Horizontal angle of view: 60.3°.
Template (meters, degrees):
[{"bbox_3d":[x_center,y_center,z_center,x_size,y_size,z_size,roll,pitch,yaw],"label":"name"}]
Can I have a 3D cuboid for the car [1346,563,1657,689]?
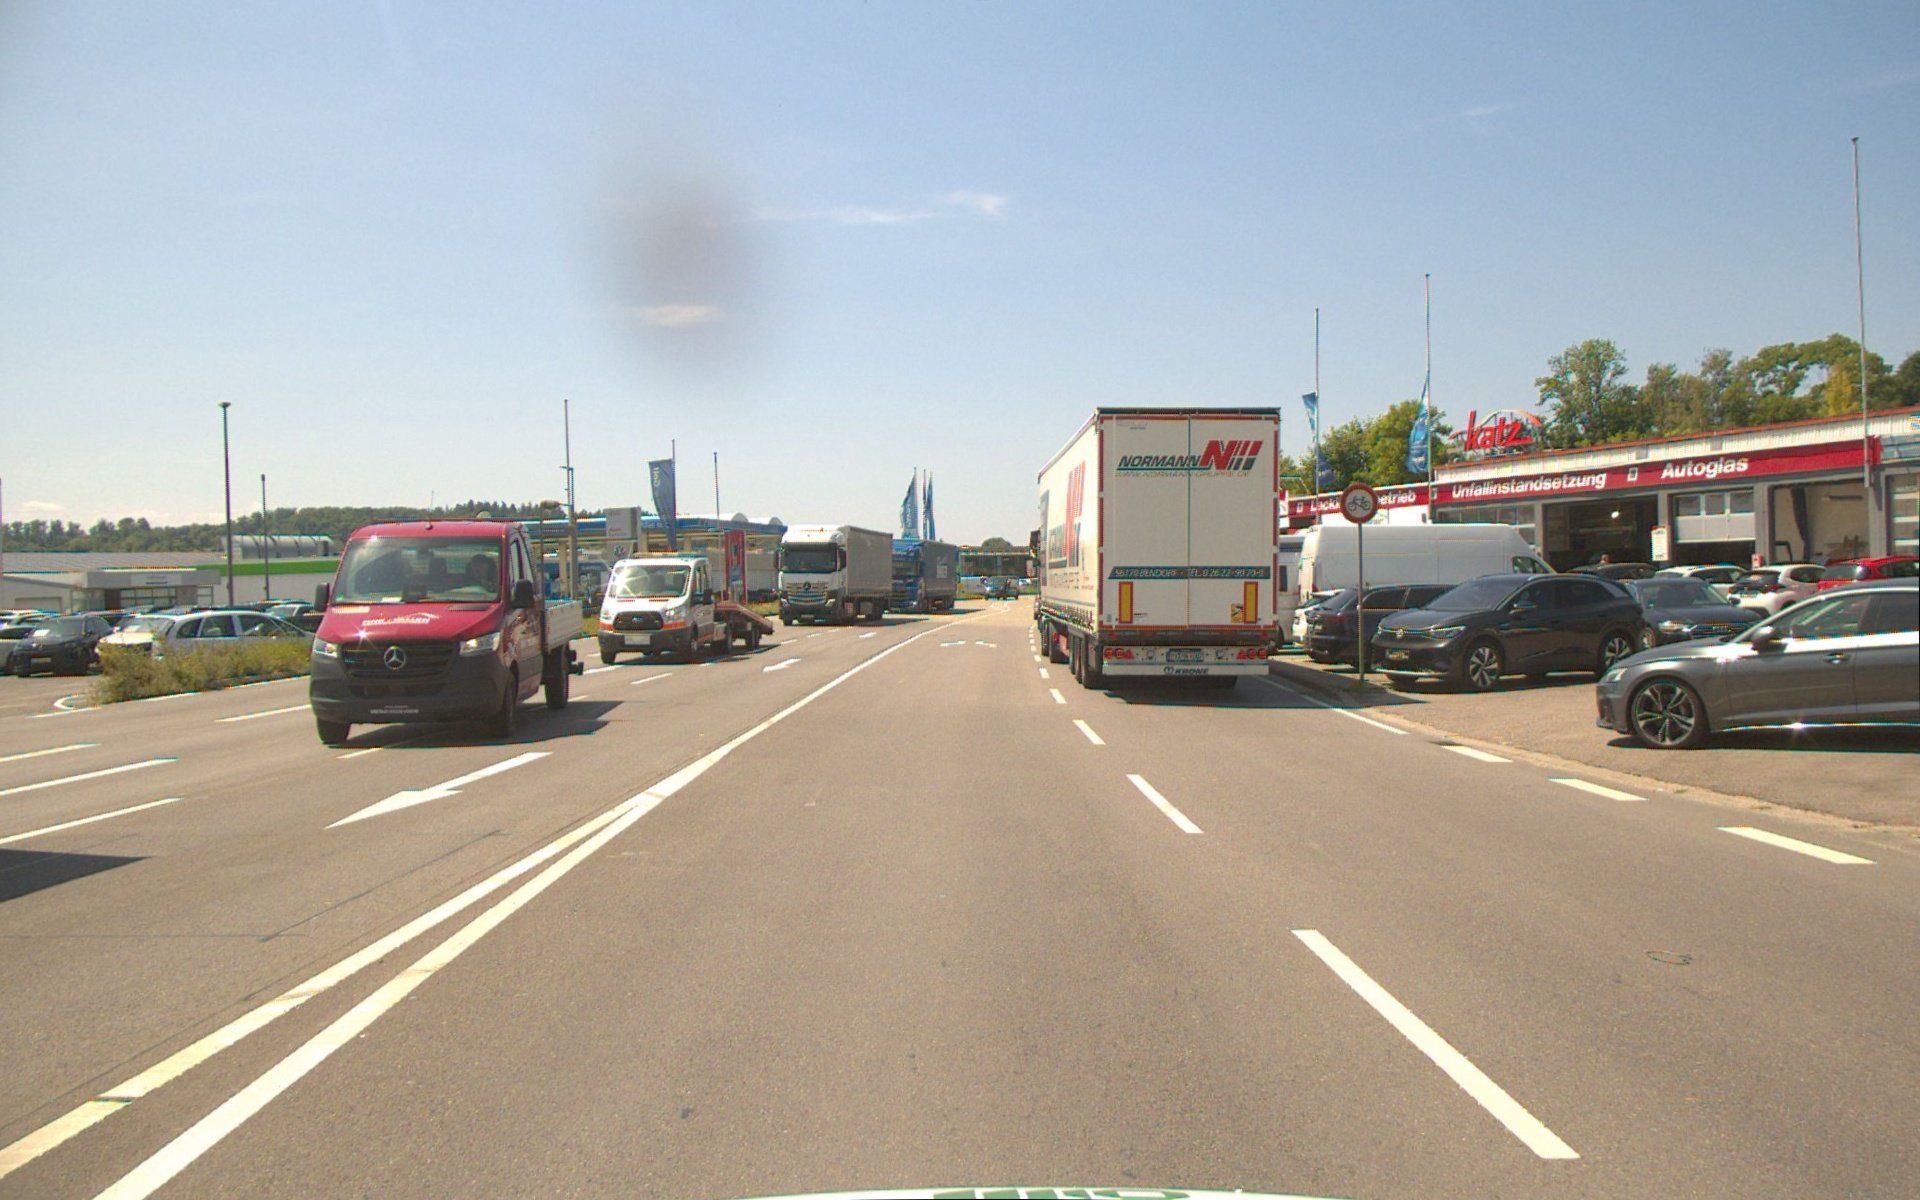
[{"bbox_3d":[8.185,0.349,24.981,4.274,1.653,2.044,-2,0,-27],"label":"car"}]

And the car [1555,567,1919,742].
[{"bbox_3d":[8.045,0.451,14.632,1.913,1.411,4.856,-3,-1,-43],"label":"car"}]

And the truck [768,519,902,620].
[{"bbox_3d":[-5.179,-1.205,72.761,2.731,3.957,16.495,0,0,7],"label":"truck"}]

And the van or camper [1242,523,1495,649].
[{"bbox_3d":[9.402,-0.323,38.452,5.361,2.777,2.233,-1,0,3],"label":"van or camper"}]

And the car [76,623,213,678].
[{"bbox_3d":[-24.490,1.491,49.841,1.953,1.489,4.458,0,1,-1],"label":"car"}]

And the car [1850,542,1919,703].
[{"bbox_3d":[12.043,0.126,17.604,1.840,1.743,4.082,-3,-1,-43],"label":"car"}]

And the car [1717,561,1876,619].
[{"bbox_3d":[21.153,-0.240,41.831,3.536,1.398,1.667,1,0,-21],"label":"car"}]

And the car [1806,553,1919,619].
[{"bbox_3d":[22.113,-0.368,39.519,3.546,1.475,1.663,-2,2,-27],"label":"car"}]

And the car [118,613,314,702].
[{"bbox_3d":[-16.673,1.240,37.081,3.816,1.780,1.856,-2,1,-31],"label":"car"}]

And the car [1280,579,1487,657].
[{"bbox_3d":[8.605,0.343,33.819,3.731,1.525,1.854,0,0,-1],"label":"car"}]

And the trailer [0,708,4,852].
[{"bbox_3d":[-7.734,-0.567,5.507,2.949,4.362,10.059,-2,-1,1],"label":"trailer"}]

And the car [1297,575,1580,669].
[{"bbox_3d":[8.109,0.347,28.310,4.238,1.525,2.081,0,0,-2],"label":"car"}]

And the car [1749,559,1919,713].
[{"bbox_3d":[10.163,0.273,16.043,1.840,1.445,4.099,-3,-1,-43],"label":"car"}]

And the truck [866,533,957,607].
[{"bbox_3d":[-2.607,-1.592,96.661,2.783,3.957,17.018,0,0,7],"label":"truck"}]

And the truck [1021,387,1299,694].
[{"bbox_3d":[3.040,-0.863,31.296,2.912,4.165,17.632,0,0,-1],"label":"truck"}]

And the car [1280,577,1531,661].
[{"bbox_3d":[8.451,0.341,31.634,4.238,1.525,2.081,0,0,-2],"label":"car"}]

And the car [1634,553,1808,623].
[{"bbox_3d":[20.471,-0.336,44.521,3.920,1.601,1.849,-4,1,-14],"label":"car"}]

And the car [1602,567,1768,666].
[{"bbox_3d":[12.637,0.245,29.088,1.771,1.554,4.386,-2,0,12],"label":"car"}]

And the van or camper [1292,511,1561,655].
[{"bbox_3d":[10.059,-0.373,36.019,5.256,2.956,2.233,-1,0,3],"label":"van or camper"}]

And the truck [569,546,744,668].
[{"bbox_3d":[-6.566,0.116,36.579,2.374,2.381,5.678,-3,0,4],"label":"truck"}]

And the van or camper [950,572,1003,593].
[{"bbox_3d":[1.567,-1.633,154.921,4.744,1.938,1.906,0,0,10],"label":"van or camper"}]

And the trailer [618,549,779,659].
[{"bbox_3d":[-6.306,0.068,40.919,2.377,2.379,6.900,-3,0,4],"label":"trailer"}]

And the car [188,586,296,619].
[{"bbox_3d":[-31.574,0.107,72.855,4.101,1.332,1.691,-2,0,-16],"label":"car"}]

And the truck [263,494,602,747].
[{"bbox_3d":[-5.944,0.197,19.779,2.349,2.487,6.865,0,0,-5],"label":"truck"}]

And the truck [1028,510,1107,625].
[{"bbox_3d":[4.054,-1.193,63.711,2.592,3.872,13.365,-2,0,3],"label":"truck"}]
